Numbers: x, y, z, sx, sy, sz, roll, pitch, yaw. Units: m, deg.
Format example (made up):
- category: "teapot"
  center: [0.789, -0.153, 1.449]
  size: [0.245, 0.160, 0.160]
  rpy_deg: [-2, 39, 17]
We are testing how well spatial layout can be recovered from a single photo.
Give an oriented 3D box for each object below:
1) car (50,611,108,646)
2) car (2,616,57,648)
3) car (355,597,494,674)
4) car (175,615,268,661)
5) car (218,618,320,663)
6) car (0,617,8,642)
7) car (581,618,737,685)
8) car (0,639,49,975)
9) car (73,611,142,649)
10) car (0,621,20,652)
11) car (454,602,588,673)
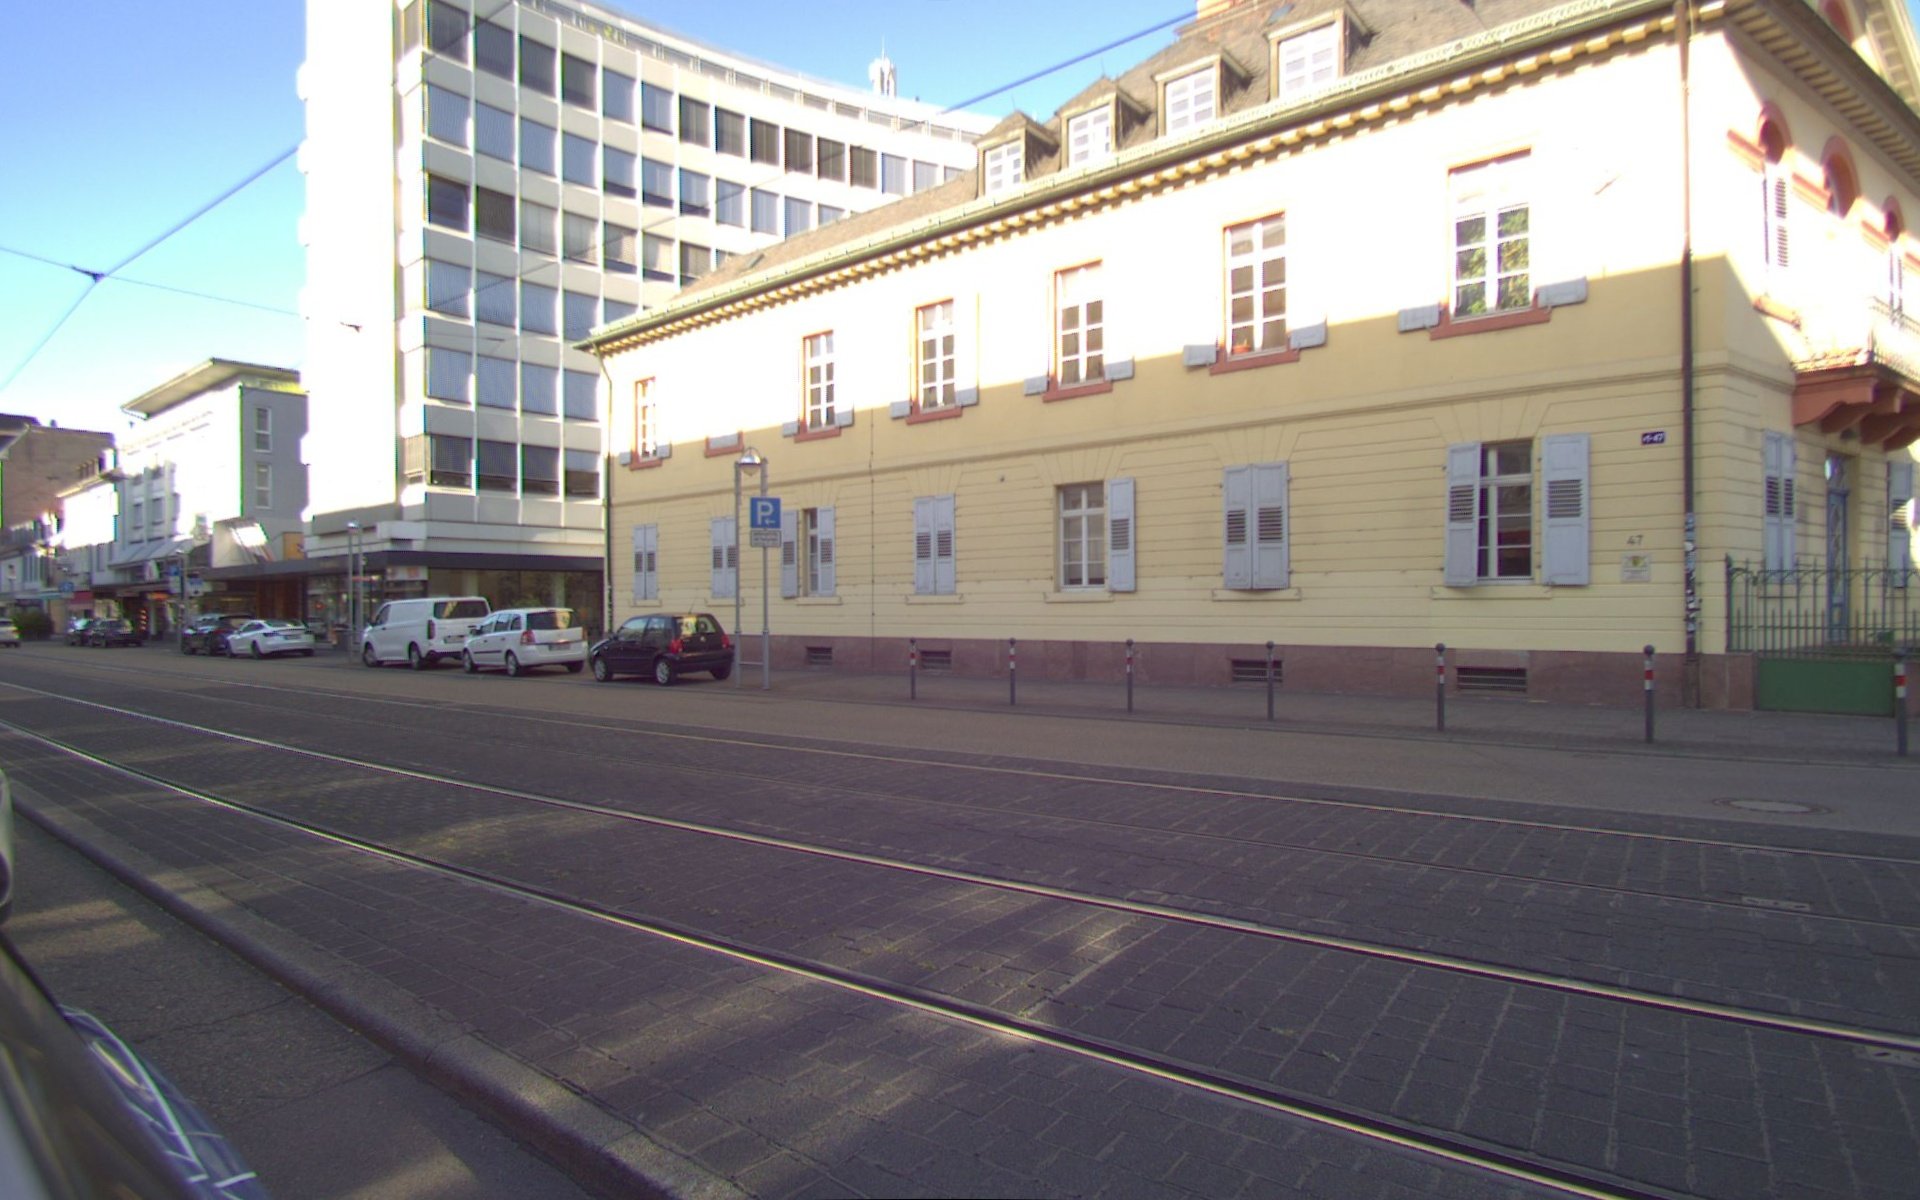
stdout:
- category: "car"
  center: [-50.305, 1.627, 57.761]
  size: [3.994, 1.896, 1.768]
  rpy_deg: [-1, -1, 38]
- category: "car"
  center: [-62.814, 2.157, 68.325]
  size: [3.996, 2.058, 2.172]
  rpy_deg: [-1, -1, 39]
- category: "car"
  center: [-15.364, 0.974, 28.954]
  size: [4.619, 2.029, 2.014]
  rpy_deg: [-1, -1, 41]
- category: "car"
  center: [-29.920, 1.496, 40.969]
  size: [4.103, 1.717, 1.975]
  rpy_deg: [-1, 0, 38]
- category: "car"
  center: [-25.693, 1.450, 37.568]
  size: [4.369, 1.541, 1.974]
  rpy_deg: [-1, 0, 39]
- category: "car"
  center: [-78.772, 2.394, 81.840]
  size: [3.995, 2.029, 1.974]
  rpy_deg: [-1, 0, 38]
- category: "car"
  center: [-6.402, 1.043, 21.426]
  size: [3.210, 1.263, 1.667]
  rpy_deg: [-1, 0, 39]
- category: "car"
  center: [-6.092, 0.904, 4.802]
  size: [3.992, 1.393, 1.862]
  rpy_deg: [-1, 0, 36]
- category: "car"
  center: [-43.914, 1.512, 52.124]
  size: [3.995, 1.874, 1.974]
  rpy_deg: [-1, 0, 38]
- category: "car"
  center: [-51.688, 1.952, 53.952]
  size: [3.994, 1.609, 1.739]
  rpy_deg: [-1, -1, 38]
- category: "car"
  center: [-11.043, 0.895, 25.324]
  size: [4.005, 1.621, 1.619]
  rpy_deg: [-1, 0, 43]
